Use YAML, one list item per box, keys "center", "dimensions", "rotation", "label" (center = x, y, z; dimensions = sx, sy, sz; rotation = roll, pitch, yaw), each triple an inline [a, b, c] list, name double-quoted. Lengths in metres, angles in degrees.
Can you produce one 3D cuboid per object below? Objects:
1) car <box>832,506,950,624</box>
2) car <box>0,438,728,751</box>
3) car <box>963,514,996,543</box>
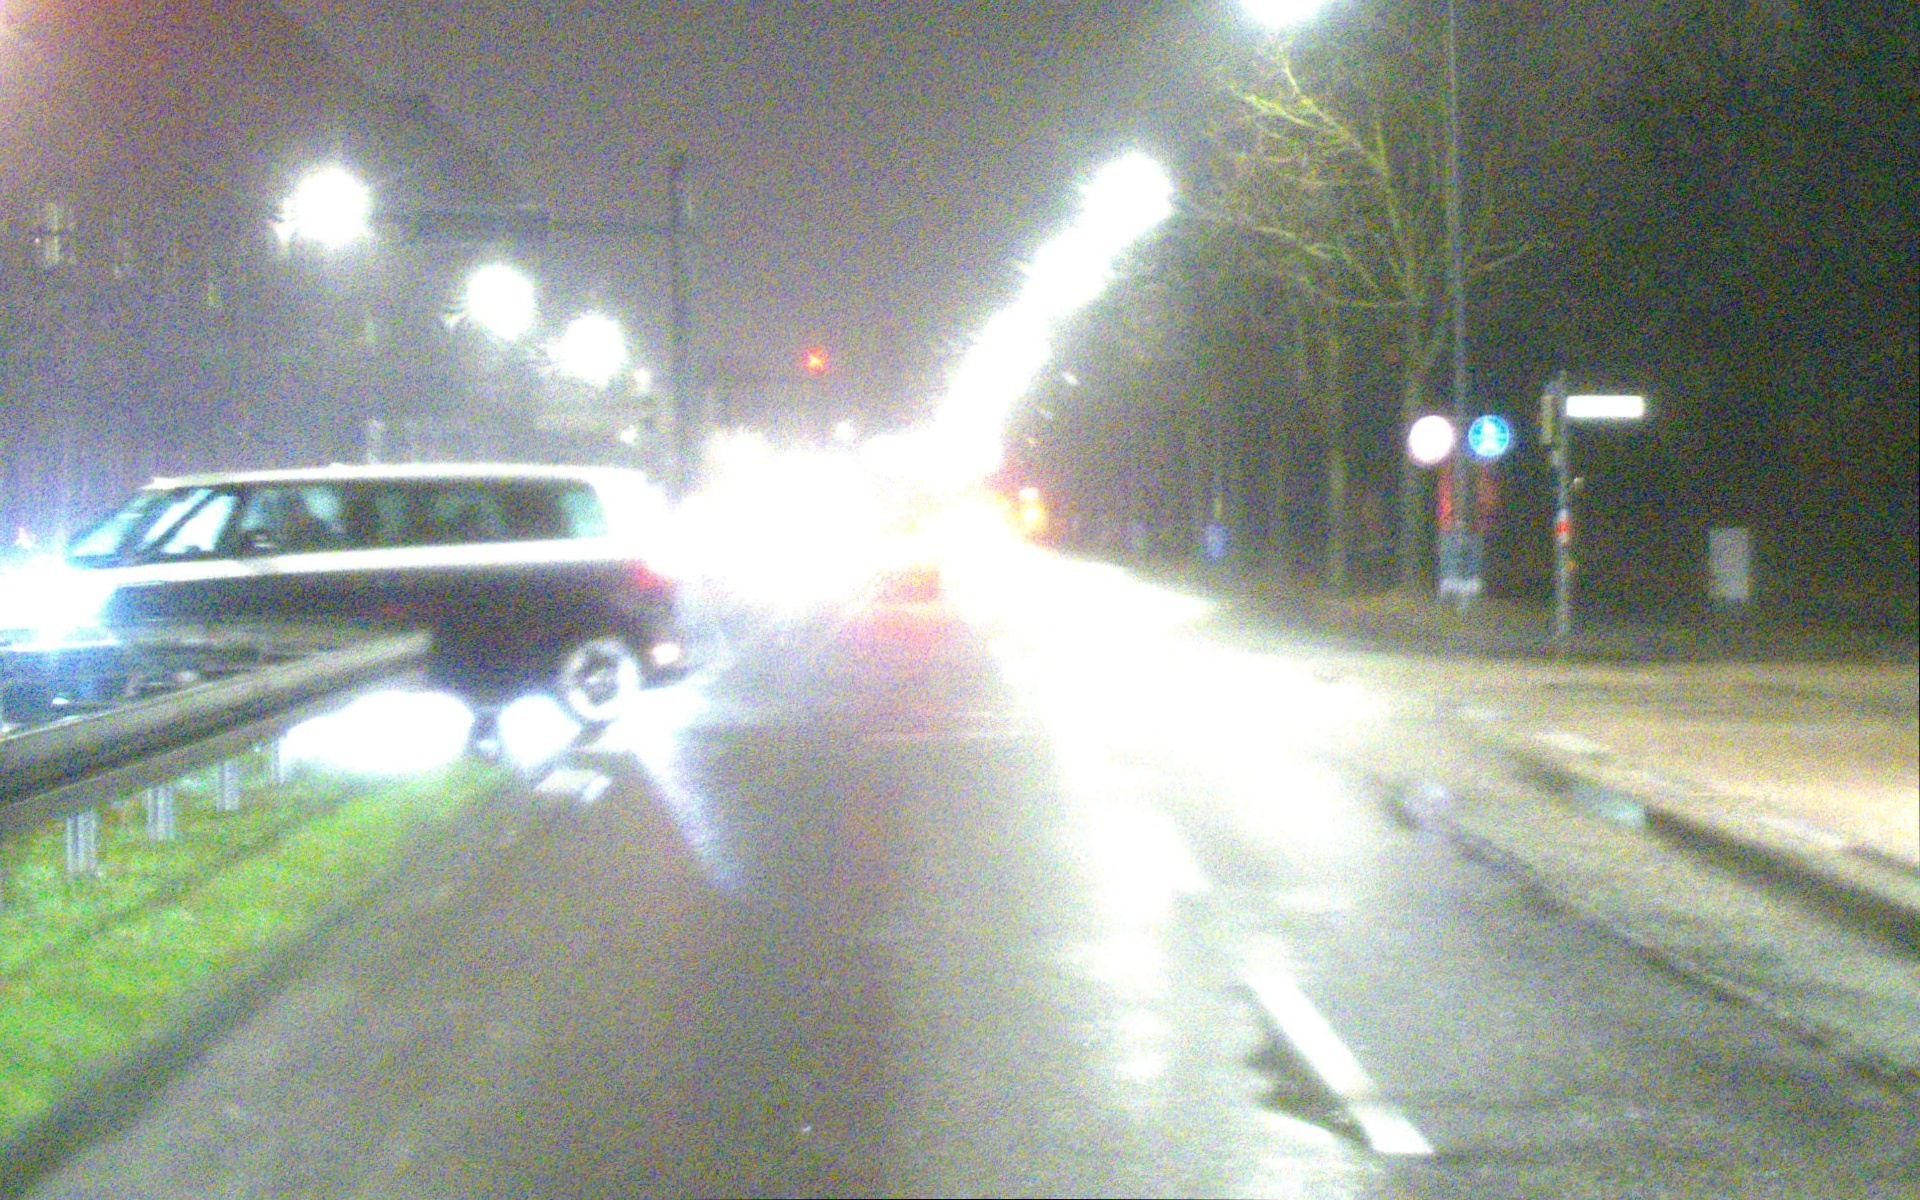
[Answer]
- center: [-1.301, -0.674, 65.763]
  dimensions: [2.135, 2.137, 4.929]
  rotation: [1, 1, -1]
  label: "car"
- center: [-4.347, -0.093, 23.973]
  dimensions: [5.093, 1.978, 2.000]
  rotation: [-1, 1, -33]
  label: "car"
- center: [1.193, -4.510, 216.368]
  dimensions: [1.993, 1.753, 4.000]
  rotation: [1, 1, -1]
  label: "car"
